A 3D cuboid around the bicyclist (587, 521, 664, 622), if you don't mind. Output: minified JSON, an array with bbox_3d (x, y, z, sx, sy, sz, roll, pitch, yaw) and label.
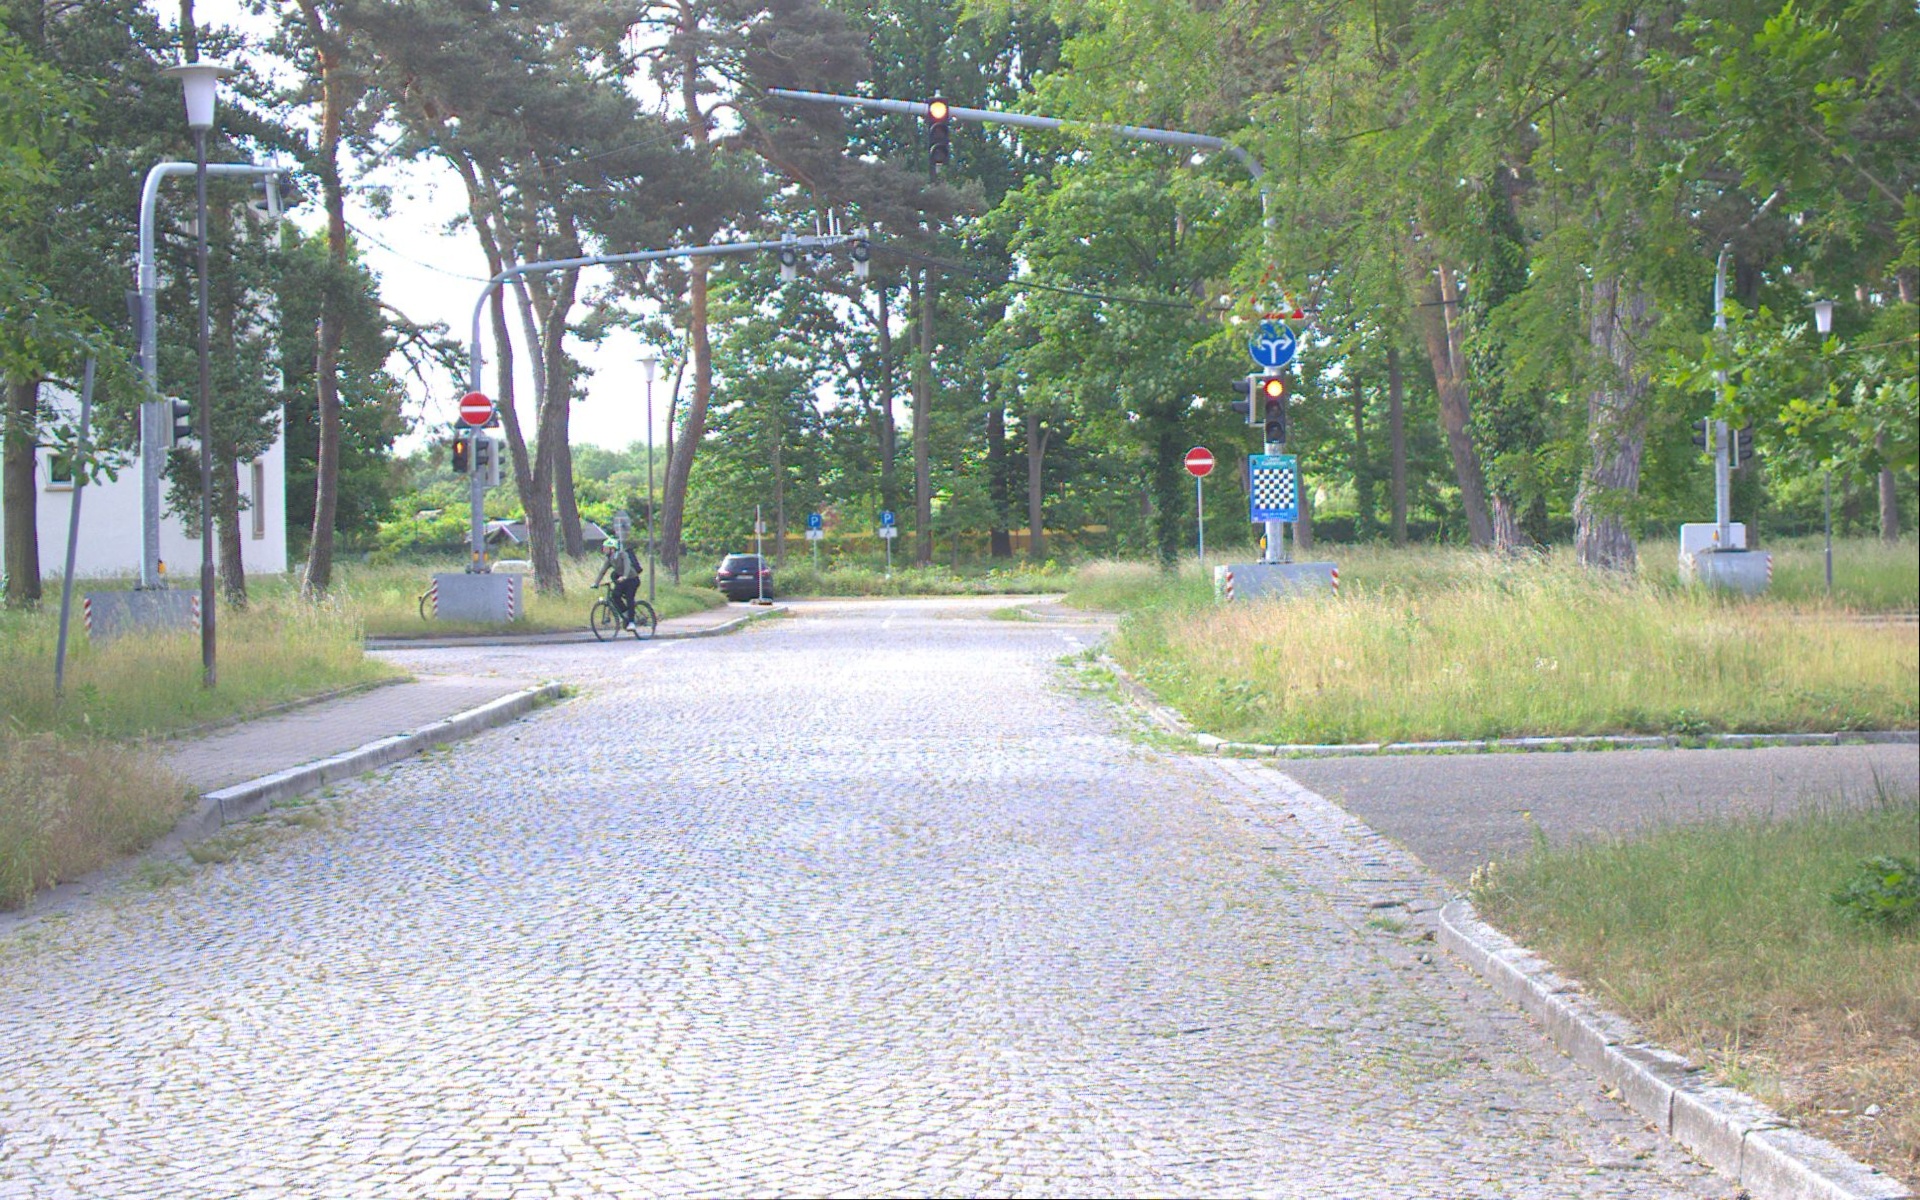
[{"bbox_3d":[-5.702,-0.491,58.630,0.955,1.691,0.922,-1,0,22],"label":"bicyclist"}]

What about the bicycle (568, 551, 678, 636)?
[{"bbox_3d":[-5.728,-0.123,58.539,0.937,1.382,2.183,-1,1,22],"label":"bicycle"}]

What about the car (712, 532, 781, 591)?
[{"bbox_3d":[-6.913,-1.267,111.689,2.056,1.840,4.000,-1,1,-1],"label":"car"}]
